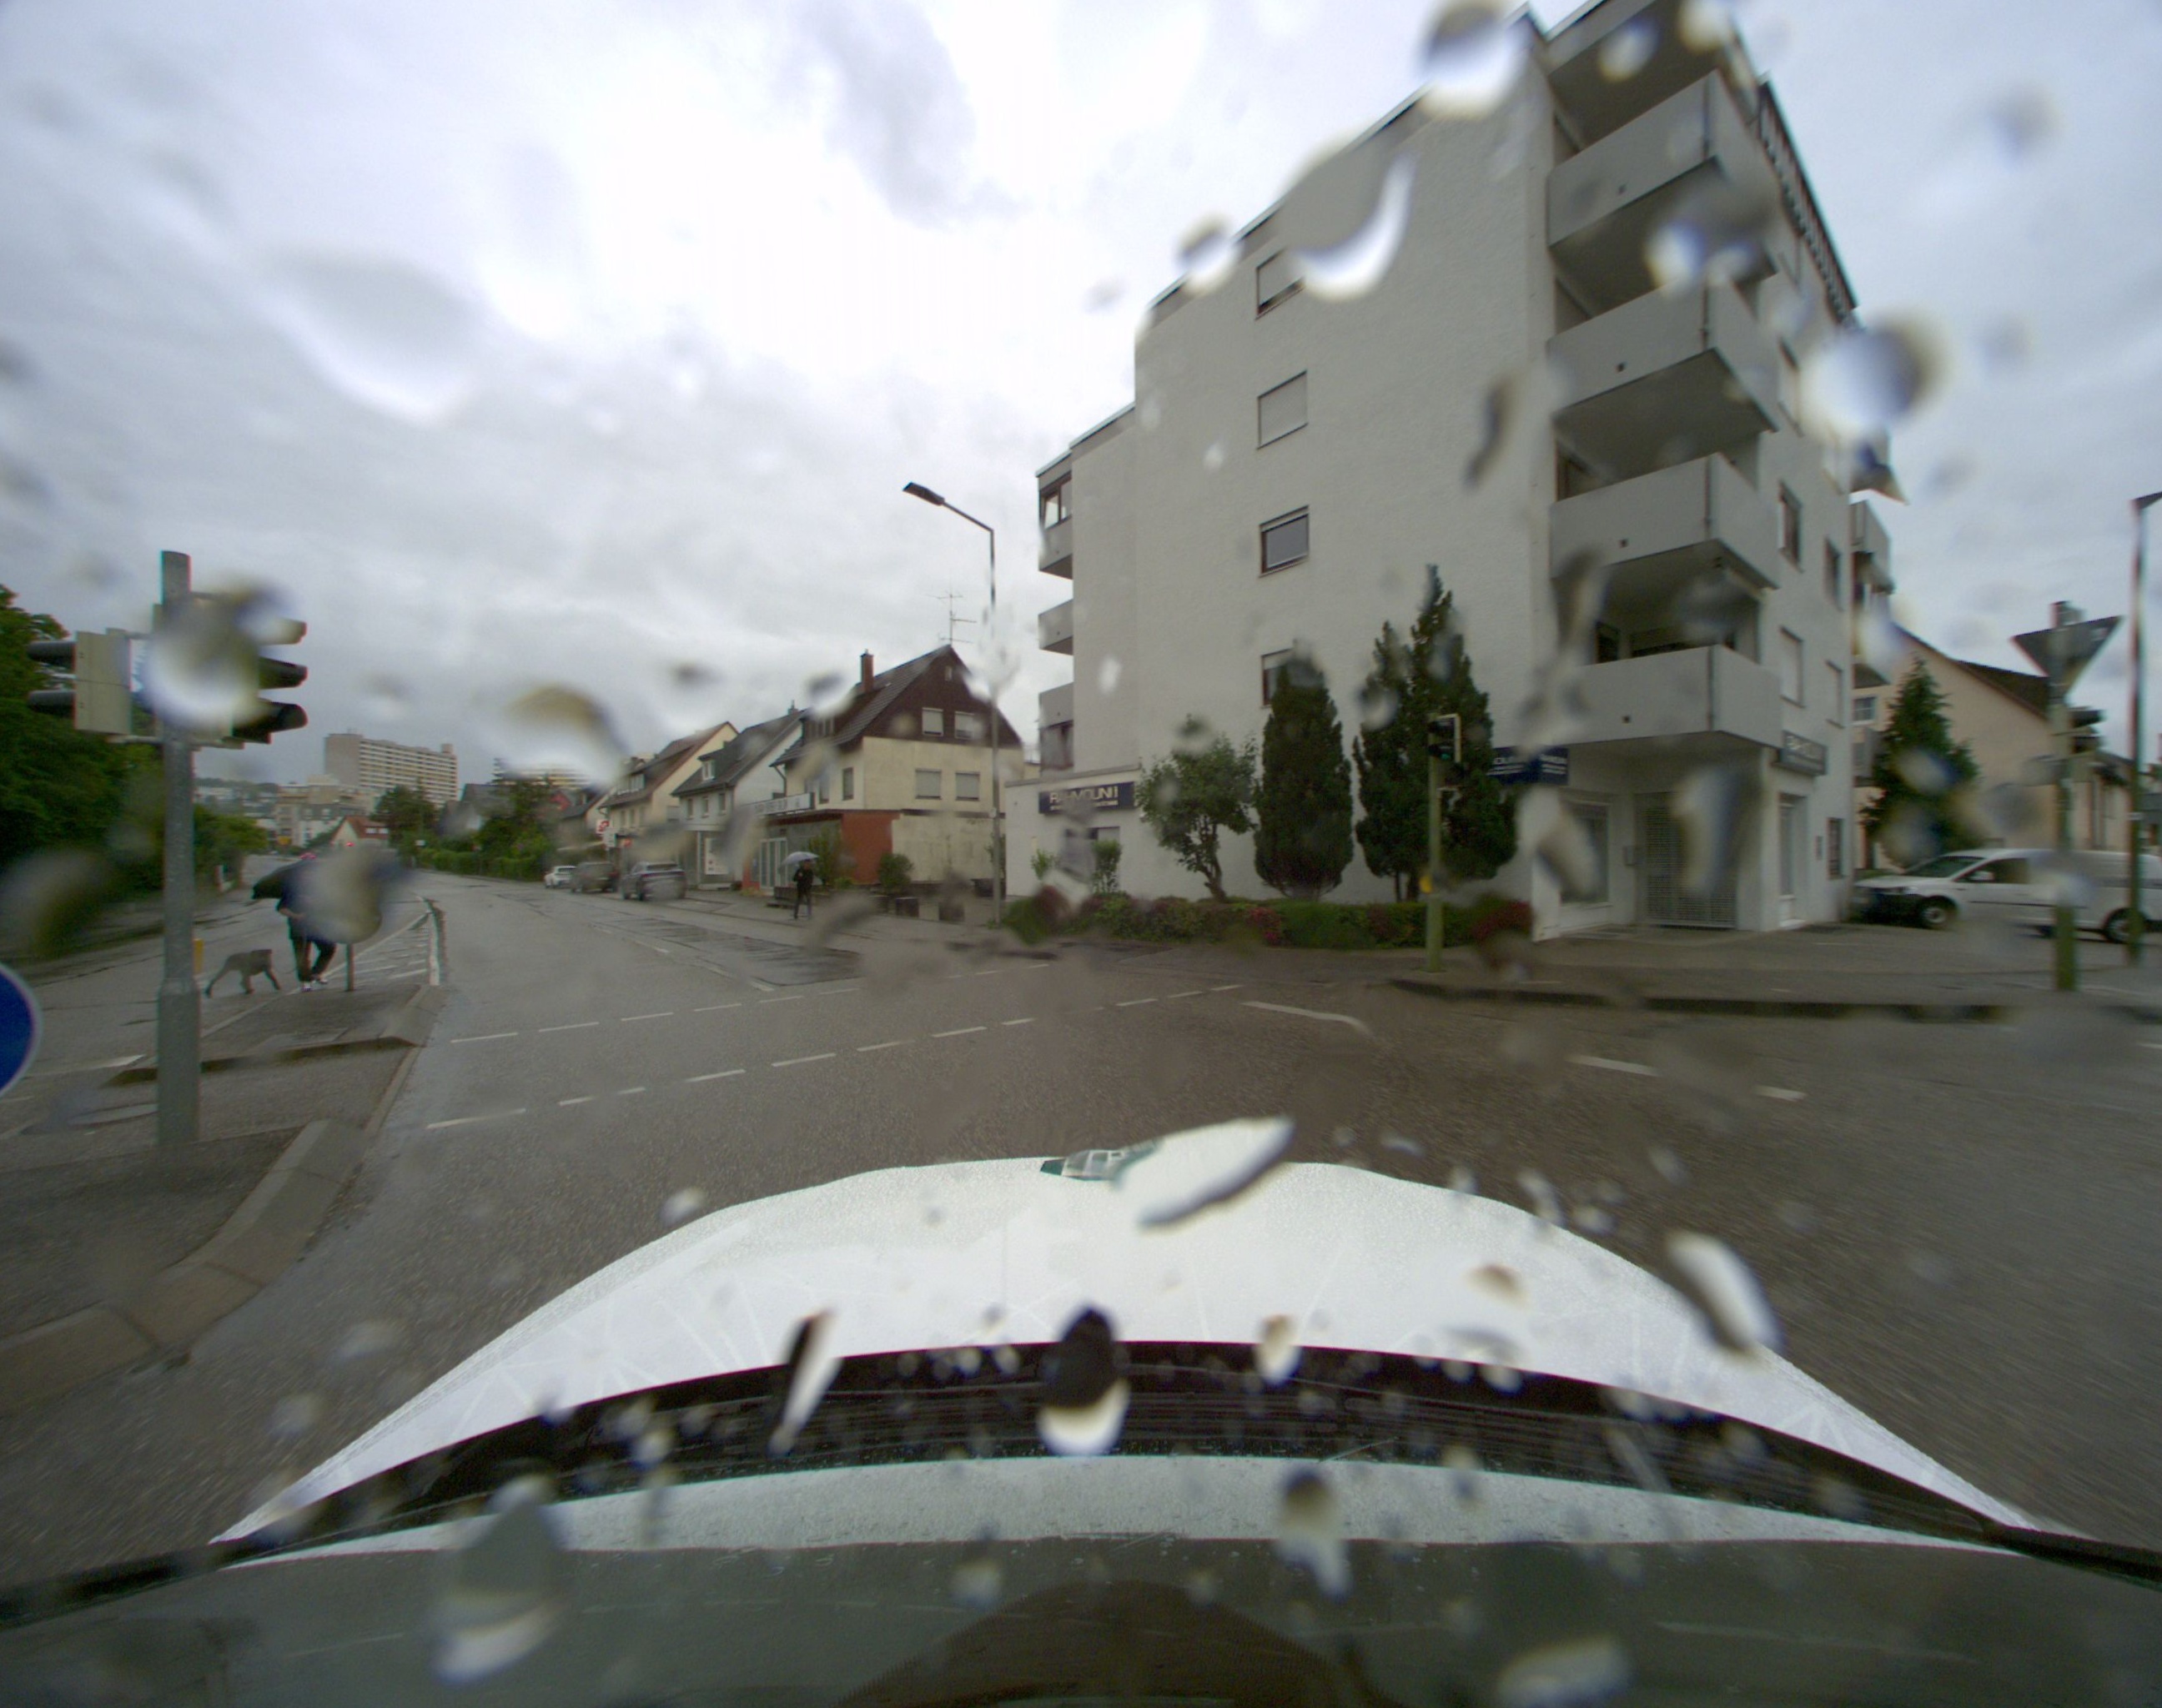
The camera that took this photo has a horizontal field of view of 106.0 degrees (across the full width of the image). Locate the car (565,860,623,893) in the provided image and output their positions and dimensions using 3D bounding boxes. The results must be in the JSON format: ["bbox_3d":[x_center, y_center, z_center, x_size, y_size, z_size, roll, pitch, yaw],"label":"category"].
[{"bbox_3d":[-27.948,1.274,46.645,2.053,1.695,4.904,-3,1,-40],"label":"car"}]

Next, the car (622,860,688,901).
[{"bbox_3d":[-19.450,1.171,37.083,1.890,1.642,4.739,-3,1,-36],"label":"car"}]

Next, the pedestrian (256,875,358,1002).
[{"bbox_3d":[-10.929,1.146,11.533,0.668,1.702,0.941,0,-2,-18],"label":"pedestrian"}]

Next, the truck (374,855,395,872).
[{"bbox_3d":[-92.723,1.241,108.413,2.011,2.303,3.951,-1,1,-43],"label":"truck"}]

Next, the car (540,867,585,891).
[{"bbox_3d":[-34.367,1.604,53.936,1.831,1.448,4.153,-3,1,-41],"label":"car"}]

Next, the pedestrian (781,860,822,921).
[{"bbox_3d":[-7.456,0.977,21.714,0.758,1.568,0.982,2,-3,-36],"label":"pedestrian"}]

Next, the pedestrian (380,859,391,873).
[{"bbox_3d":[-89.972,1.603,105.367,0.790,1.797,0.830,-1,0,25],"label":"pedestrian"}]

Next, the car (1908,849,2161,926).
[{"bbox_3d":[25.244,0.874,21.352,4.572,1.889,1.971,-1,-3,15],"label":"car"}]

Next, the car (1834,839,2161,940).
[{"bbox_3d":[19.285,0.717,17.193,4.679,1.778,1.780,3,-2,15],"label":"car"}]
